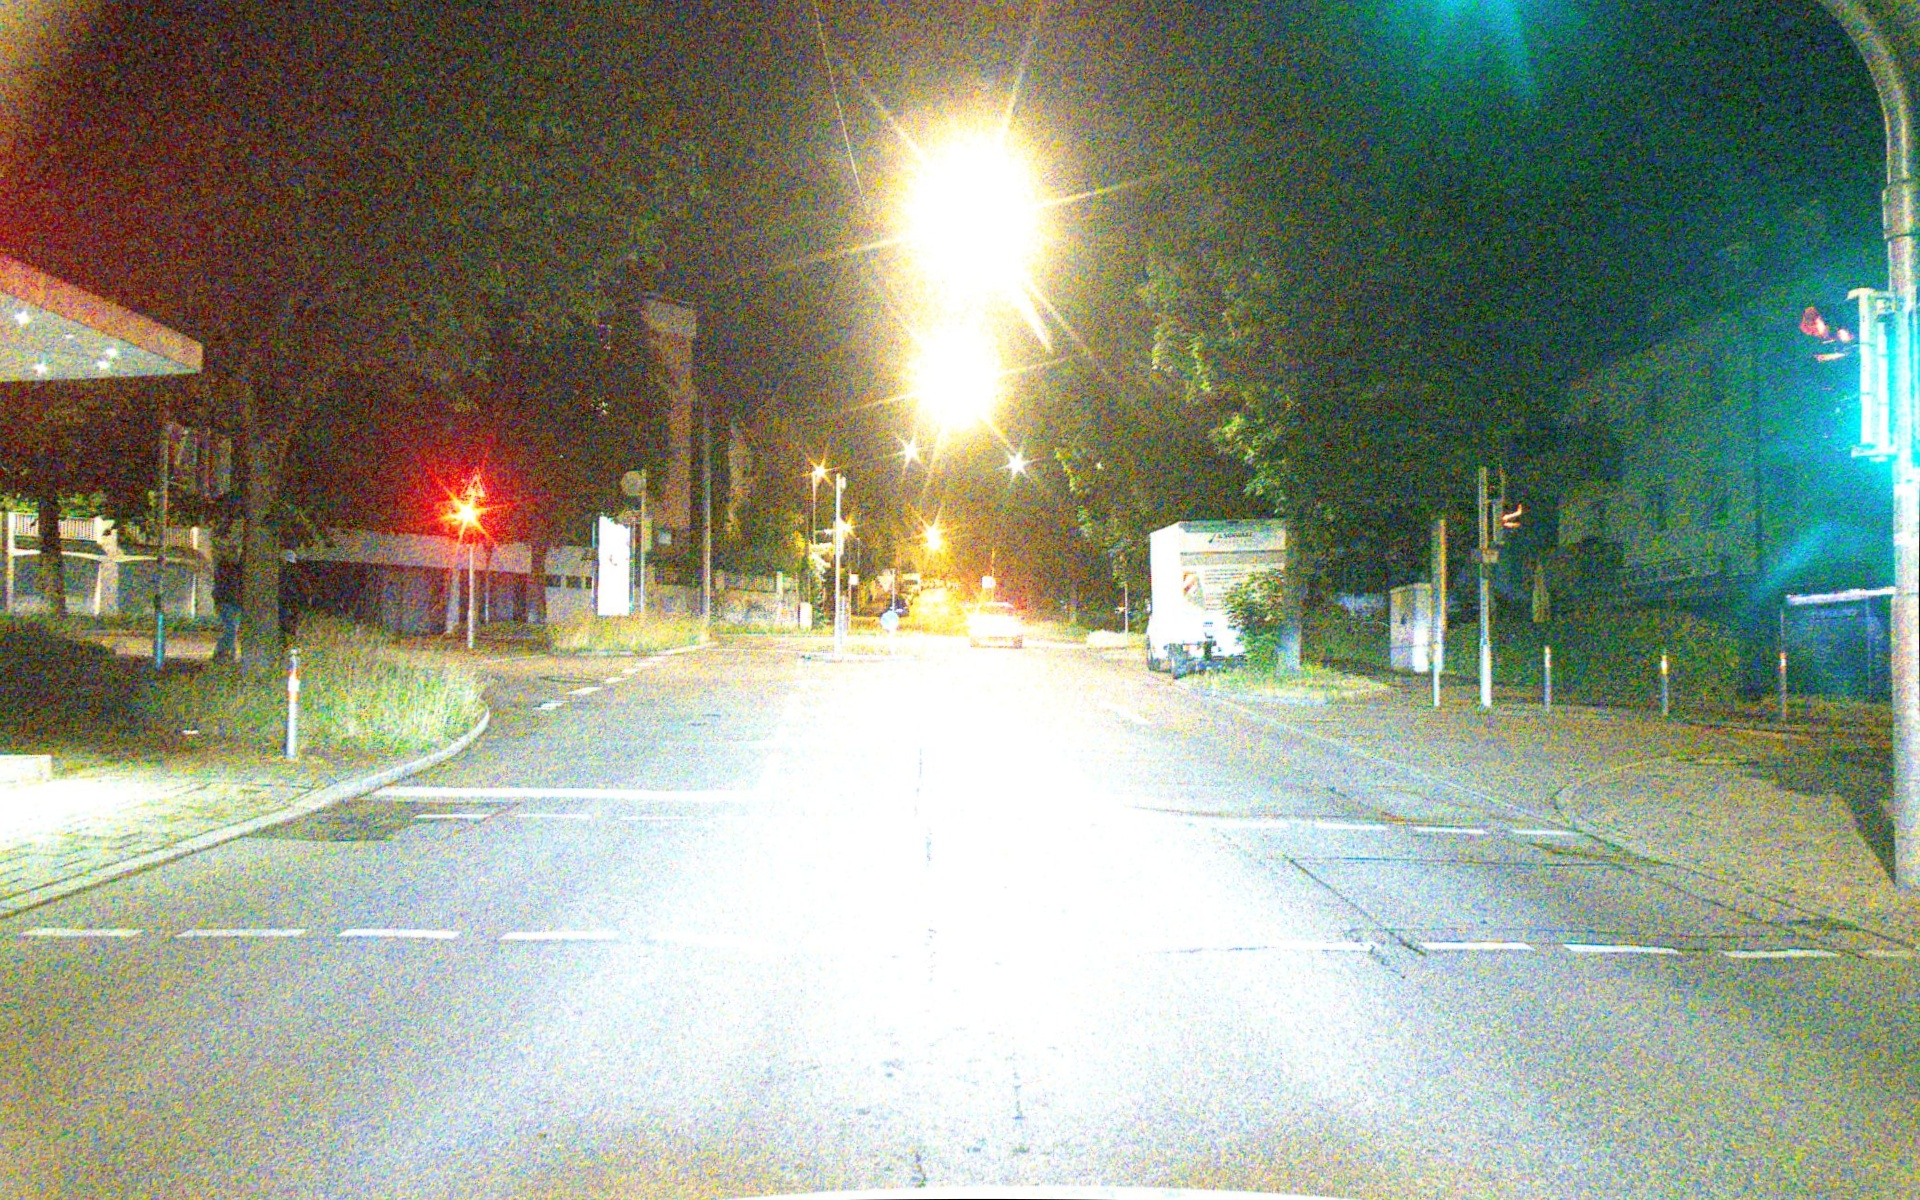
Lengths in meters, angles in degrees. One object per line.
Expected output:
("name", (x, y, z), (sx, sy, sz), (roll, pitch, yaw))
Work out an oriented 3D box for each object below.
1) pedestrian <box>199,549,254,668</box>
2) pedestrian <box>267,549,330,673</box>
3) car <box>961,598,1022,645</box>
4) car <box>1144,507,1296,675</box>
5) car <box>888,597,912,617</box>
("pedestrian", (-11.102, 0.130, 25.050), (0.558, 1.761, 0.543), (1, -1, -1))
("pedestrian", (-9.894, 0.165, 24.754), (0.558, 1.808, 0.737), (3, -1, -1))
("car", (1.016, 0.698, 55.350), (1.740, 1.512, 3.997), (1, 0, -3))
("car", (5.251, -0.161, 34.312), (2.249, 3.147, 5.840), (-1, 0, 1))
("car", (-4.838, 0.546, 134.301), (1.869, 1.585, 3.903), (1, 0, -1))
